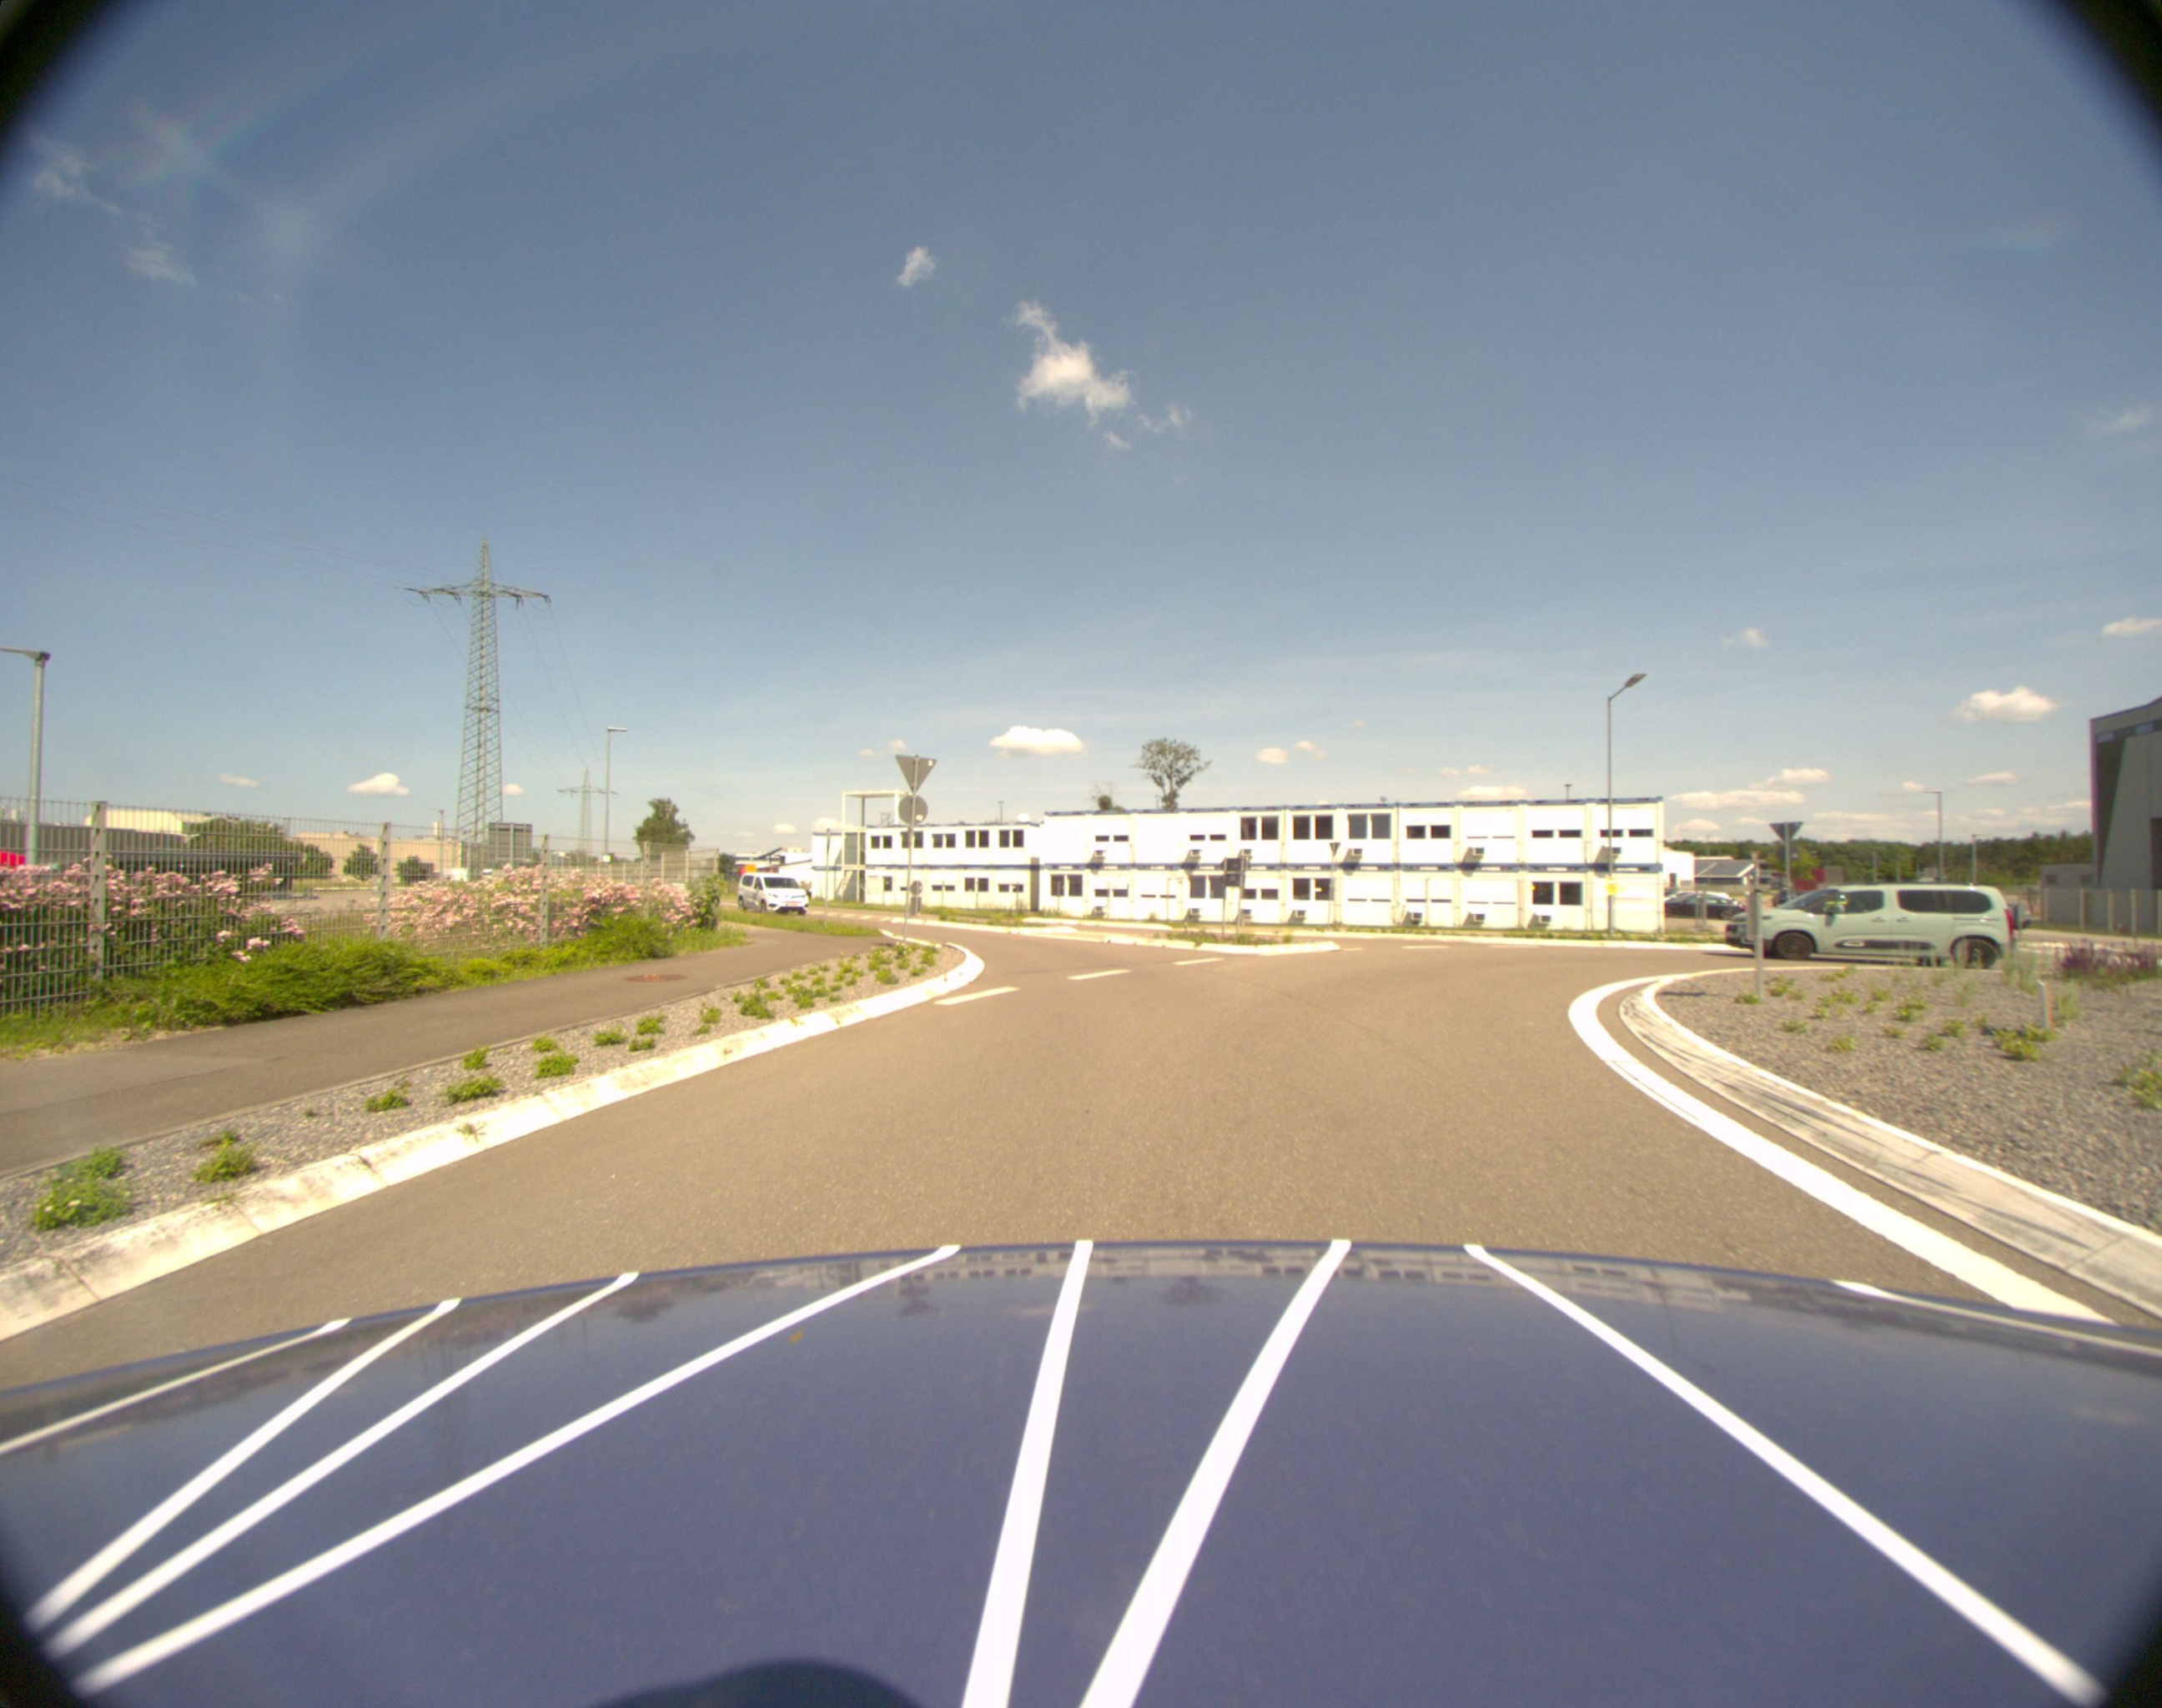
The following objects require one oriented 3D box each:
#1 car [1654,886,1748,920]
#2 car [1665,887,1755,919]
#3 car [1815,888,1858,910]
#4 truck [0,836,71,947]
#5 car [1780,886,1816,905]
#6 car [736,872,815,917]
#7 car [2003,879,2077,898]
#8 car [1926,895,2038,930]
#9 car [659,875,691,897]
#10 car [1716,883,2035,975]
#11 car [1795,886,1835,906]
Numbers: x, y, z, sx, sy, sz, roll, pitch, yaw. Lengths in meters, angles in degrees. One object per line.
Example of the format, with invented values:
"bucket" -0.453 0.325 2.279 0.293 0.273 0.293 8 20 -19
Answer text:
"car" 37.290 2.912 45.852 4.302 1.855 2.005 -1 -1 36
"car" 40.079 3.081 48.581 4.302 1.855 2.005 -1 -1 36
"car" 59.547 3.544 59.953 1.994 1.540 4.324 -1 -1 39
"truck" -44.016 1.268 25.921 3.022 4.230 10.993 1 -2 17
"car" 65.124 3.726 69.071 1.994 1.540 4.324 -1 -1 39
"car" -13.541 1.711 33.552 1.842 1.795 4.816 0 -1 -40
"car" 99.392 3.535 78.818 4.303 1.855 2.004 0 -1 24
"car" 46.595 2.975 39.437 1.995 1.540 4.322 0 -1 23
"car" -34.310 2.701 64.109 1.779 1.418 4.046 1 -9 -37
"car" 17.498 1.576 17.123 4.549 1.768 2.004 0 -2 25
"car" 62.102 3.495 64.348 1.994 1.540 4.324 -1 -1 39
